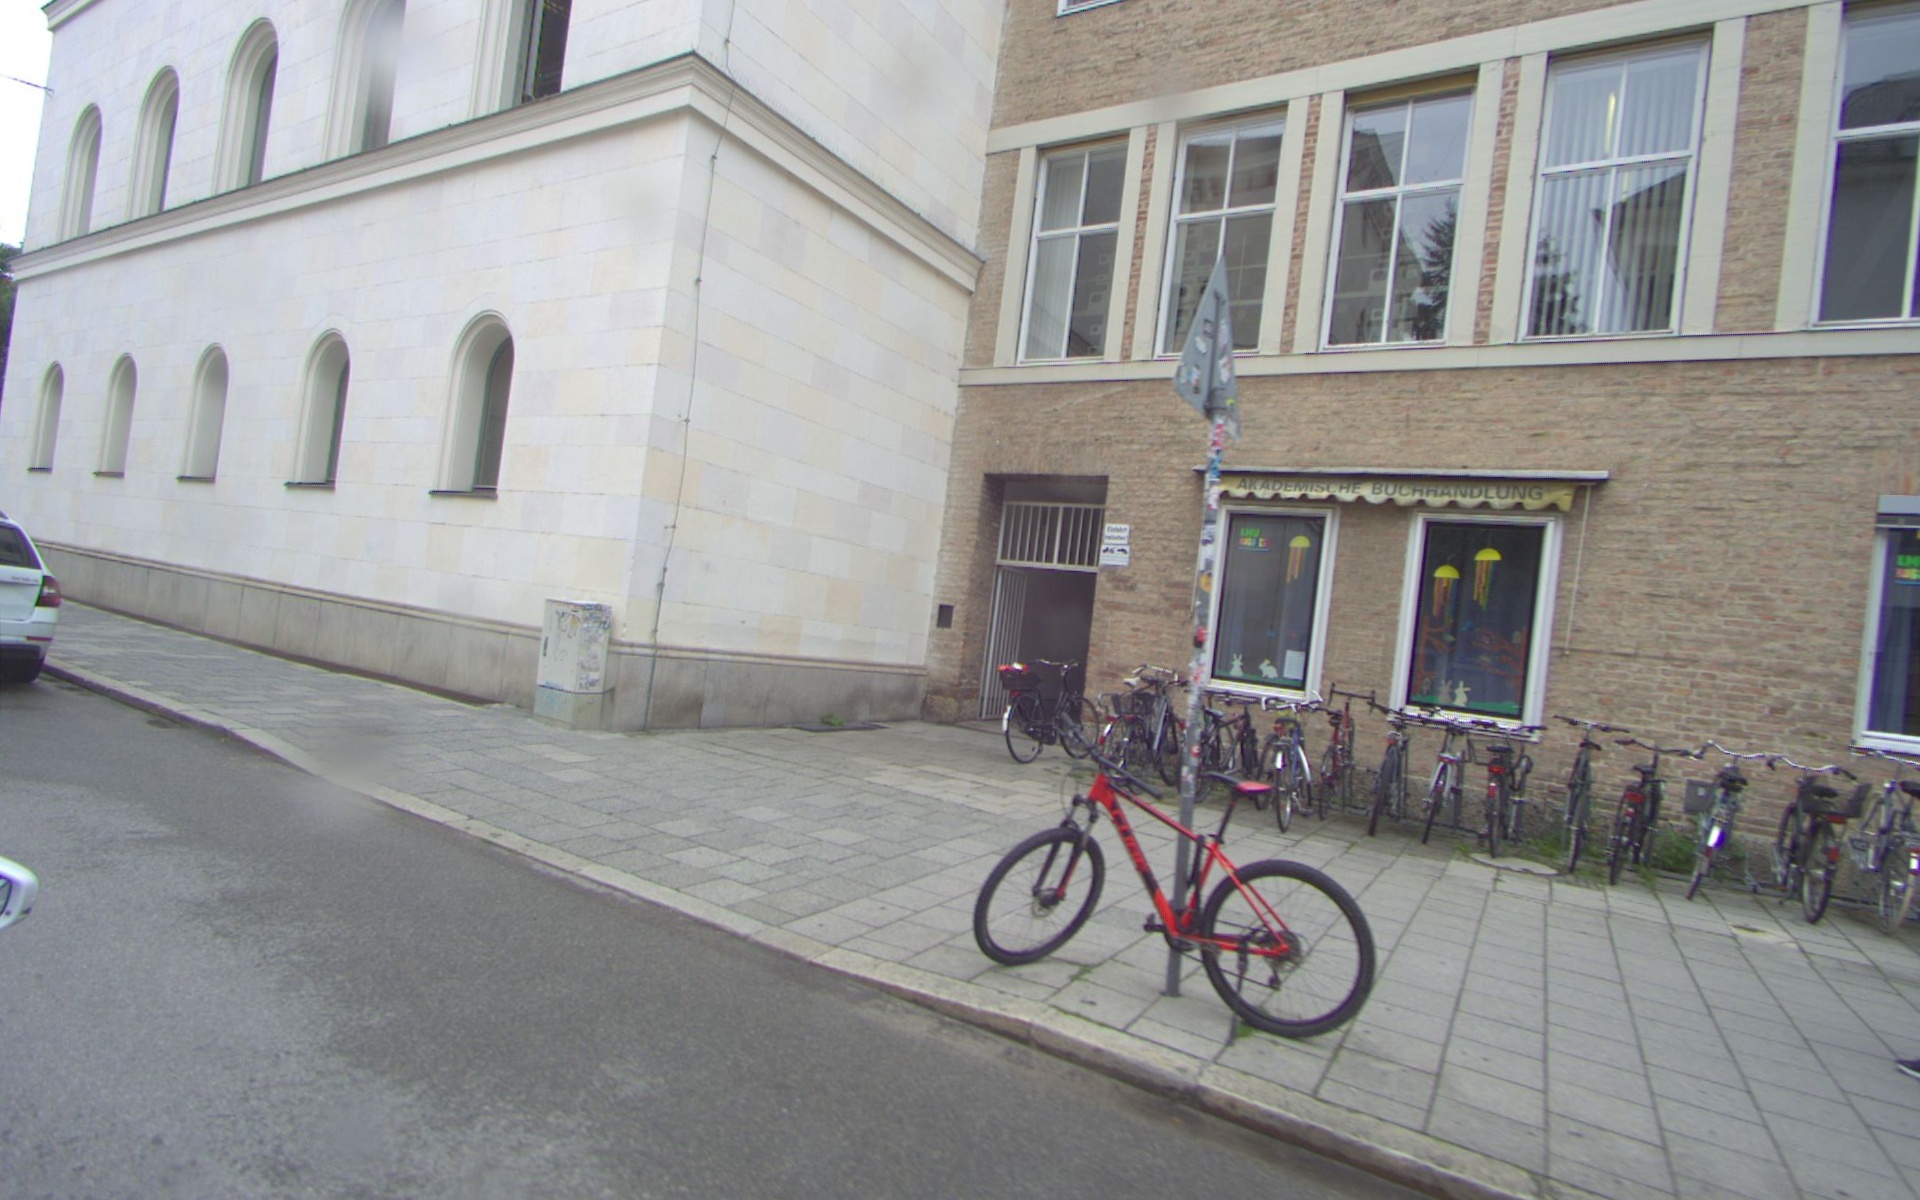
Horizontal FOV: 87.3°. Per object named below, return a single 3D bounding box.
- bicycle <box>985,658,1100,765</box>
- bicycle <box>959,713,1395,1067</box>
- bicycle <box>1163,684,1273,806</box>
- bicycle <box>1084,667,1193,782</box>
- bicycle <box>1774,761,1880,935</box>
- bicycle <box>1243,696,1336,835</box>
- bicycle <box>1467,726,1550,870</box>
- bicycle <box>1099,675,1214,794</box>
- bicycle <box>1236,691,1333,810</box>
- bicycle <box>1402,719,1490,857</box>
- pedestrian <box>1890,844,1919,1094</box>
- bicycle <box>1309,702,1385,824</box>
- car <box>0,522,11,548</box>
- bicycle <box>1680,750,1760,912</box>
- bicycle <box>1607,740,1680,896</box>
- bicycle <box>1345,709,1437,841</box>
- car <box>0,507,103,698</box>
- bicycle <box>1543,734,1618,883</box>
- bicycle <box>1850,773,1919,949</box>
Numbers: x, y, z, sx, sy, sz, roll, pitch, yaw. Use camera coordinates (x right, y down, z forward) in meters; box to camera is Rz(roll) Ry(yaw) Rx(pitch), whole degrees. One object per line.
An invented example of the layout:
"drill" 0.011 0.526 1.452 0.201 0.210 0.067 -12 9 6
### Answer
"bicycle" 0.932 1.211 11.018 0.343 1.054 1.630 7 0 36
"bicycle" 0.852 1.115 4.138 1.605 1.055 0.348 6 2 21
"bicycle" 2.539 1.382 9.792 0.343 1.054 1.630 7 0 36
"bicycle" 1.943 1.315 10.764 0.343 1.108 1.630 7 0 36
"bicycle" 6.536 1.814 7.635 0.343 1.054 1.630 7 0 35
"bicycle" 2.877 1.381 8.712 0.342 1.054 1.431 7 0 31
"bicycle" 4.767 1.655 8.704 0.343 1.054 1.630 7 0 35
"bicycle" 1.983 1.314 9.989 0.343 1.054 1.630 7 0 36
"bicycle" 3.263 1.464 10.038 0.343 1.054 1.630 7 0 35
"bicycle" 4.368 1.627 8.996 0.343 1.054 1.630 7 0 35
"pedestrian" 4.510 1.220 4.145 0.853 1.715 0.743 5 2 -39
"bicycle" 3.814 1.556 9.868 0.342 1.054 1.431 7 0 31
"car" -57.370 -4.017 57.349 1.775 1.434 4.362 7 -2 34
"bicycle" 6.044 1.787 8.043 0.343 1.054 1.630 7 0 35
"bicycle" 5.597 1.726 8.227 0.343 1.054 1.630 7 0 35
"bicycle" 3.989 1.560 9.242 0.343 1.054 1.630 7 0 35
"car" -9.549 -0.217 8.885 4.244 1.493 1.792 6 -3 34
"bicycle" 5.252 1.701 8.485 0.343 1.054 1.630 7 0 35
"bicycle" 6.945 1.876 7.375 0.343 1.054 1.630 7 0 35
